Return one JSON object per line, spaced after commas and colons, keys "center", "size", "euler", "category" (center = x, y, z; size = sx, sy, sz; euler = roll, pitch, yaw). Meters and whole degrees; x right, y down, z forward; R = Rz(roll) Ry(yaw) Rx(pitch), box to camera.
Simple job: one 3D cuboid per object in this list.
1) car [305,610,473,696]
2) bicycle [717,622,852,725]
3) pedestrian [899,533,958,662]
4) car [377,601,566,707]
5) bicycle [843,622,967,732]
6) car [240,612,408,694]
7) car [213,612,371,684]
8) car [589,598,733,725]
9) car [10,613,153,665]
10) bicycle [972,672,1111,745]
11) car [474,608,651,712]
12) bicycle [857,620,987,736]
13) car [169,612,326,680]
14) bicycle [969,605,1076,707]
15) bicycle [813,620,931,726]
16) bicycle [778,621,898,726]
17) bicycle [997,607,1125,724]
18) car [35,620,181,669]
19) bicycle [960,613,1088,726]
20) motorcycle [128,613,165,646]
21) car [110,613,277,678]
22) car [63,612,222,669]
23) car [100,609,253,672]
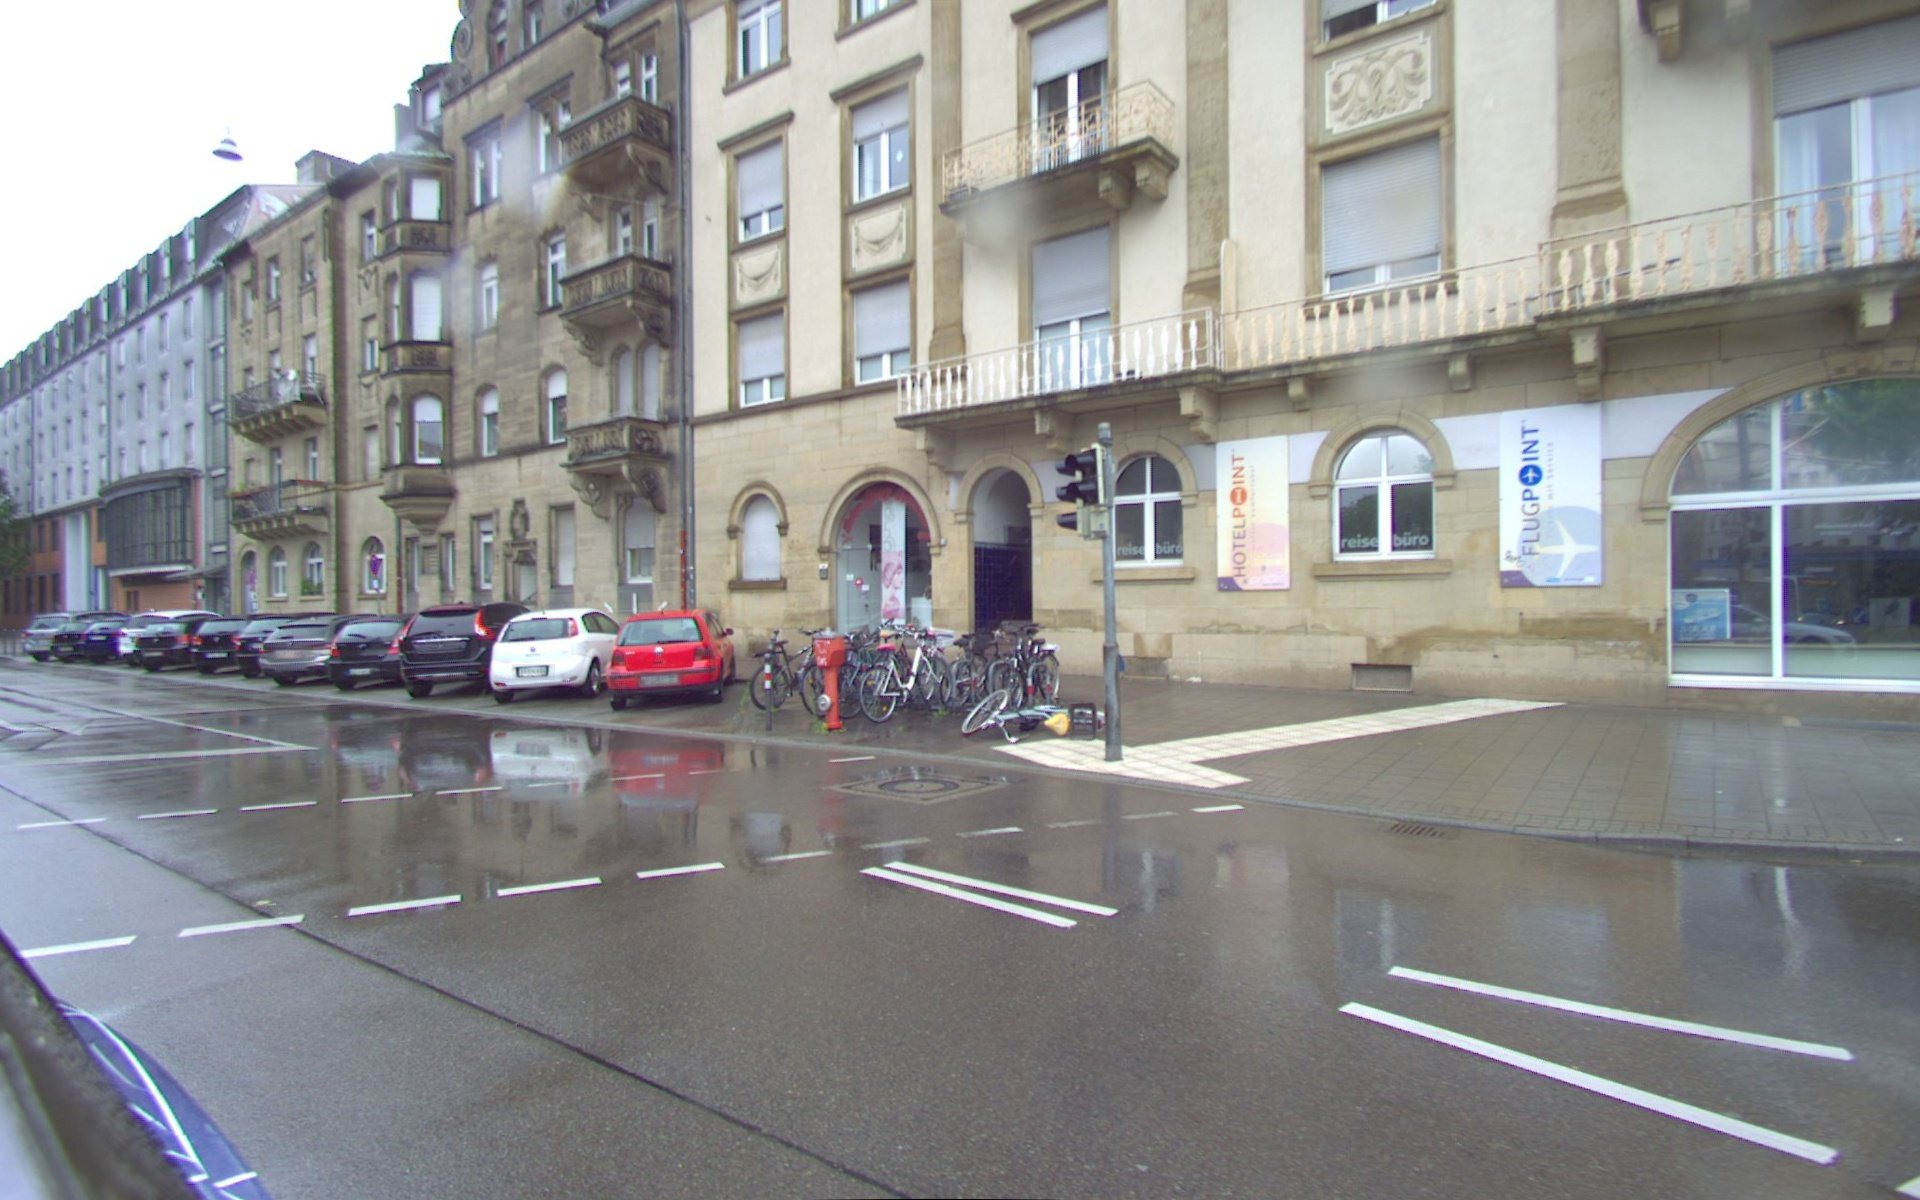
{"center": [-11.903, 1.053, 21.345], "size": [1.677, 1.536, 3.311], "euler": [-2, 1, -1], "category": "car"}
{"center": [-2.431, 0.992, 14.197], "size": [0.600, 1.193, 1.791], "euler": [-1, 3, 43], "category": "bicycle"}
{"center": [-0.593, -0.040, 19.130], "size": [0.834, 2.357, 0.766], "euler": [0, -1, -30], "category": "pedestrian"}
{"center": [-9.249, 0.936, 19.562], "size": [1.739, 1.704, 4.087], "euler": [-2, 1, -2], "category": "car"}
{"center": [-0.675, 0.957, 13.226], "size": [0.474, 1.193, 1.963], "euler": [-1, 3, 35], "category": "bicycle"}
{"center": [-14.290, 1.135, 22.961], "size": [1.676, 1.555, 3.431], "euler": [-2, 1, -2], "category": "car"}
{"center": [-16.654, 1.144, 25.428], "size": [1.606, 1.555, 3.442], "euler": [-2, 1, 2], "category": "car"}
{"center": [-4.719, 0.870, 16.485], "size": [1.774, 1.519, 4.010], "euler": [-4, 3, -11], "category": "car"}
{"center": [-30.931, 1.337, 35.786], "size": [1.789, 1.743, 3.926], "euler": [0, -1, -4], "category": "car"}
{"center": [0.919, 1.190, 11.273], "size": [1.461, 0.668, 1.040], "euler": [-1, 2, 7], "category": "bicycle"}
{"center": [-6.981, 0.974, 18.206], "size": [1.680, 1.545, 3.996], "euler": [-2, 1, -2], "category": "car"}
{"center": [-0.441, 0.935, 12.798], "size": [0.437, 1.340, 1.956], "euler": [-2, -1, 40], "category": "bicycle"}
{"center": [-18.946, 1.165, 27.122], "size": [1.604, 1.555, 3.761], "euler": [-2, 1, -2], "category": "car"}
{"center": [0.929, 0.754, 14.437], "size": [0.583, 1.356, 2.040], "euler": [-1, -1, 33], "category": "bicycle"}
{"center": [-1.138, 0.927, 13.521], "size": [0.467, 1.193, 1.794], "euler": [-1, 3, 36], "category": "bicycle"}
{"center": [-1.617, 0.960, 13.757], "size": [0.474, 1.193, 1.794], "euler": [-1, 3, 36], "category": "bicycle"}
{"center": [1.342, 0.772, 12.955], "size": [0.638, 1.356, 2.321], "euler": [-1, -1, 33], "category": "bicycle"}
{"center": [-28.455, 1.444, 33.955], "size": [1.695, 1.539, 3.724], "euler": [0, -1, 2], "category": "car"}
{"center": [0.898, 0.859, 13.467], "size": [0.638, 1.356, 2.321], "euler": [-1, -1, 33], "category": "bicycle"}
{"center": [-37.065, 1.321, 46.105], "size": [2.359, 1.474, 0.767], "euler": [-1, -1, 38], "category": "motorcycle"}
{"center": [-21.562, 1.224, 28.658], "size": [1.755, 1.555, 3.724], "euler": [-2, 1, 3], "category": "car"}
{"center": [-26.191, 1.254, 32.591], "size": [1.879, 1.539, 3.720], "euler": [0, 2, 7], "category": "car"}
{"center": [-23.867, 1.186, 31.007], "size": [1.754, 1.639, 3.727], "euler": [-2, 1, 0], "category": "car"}
